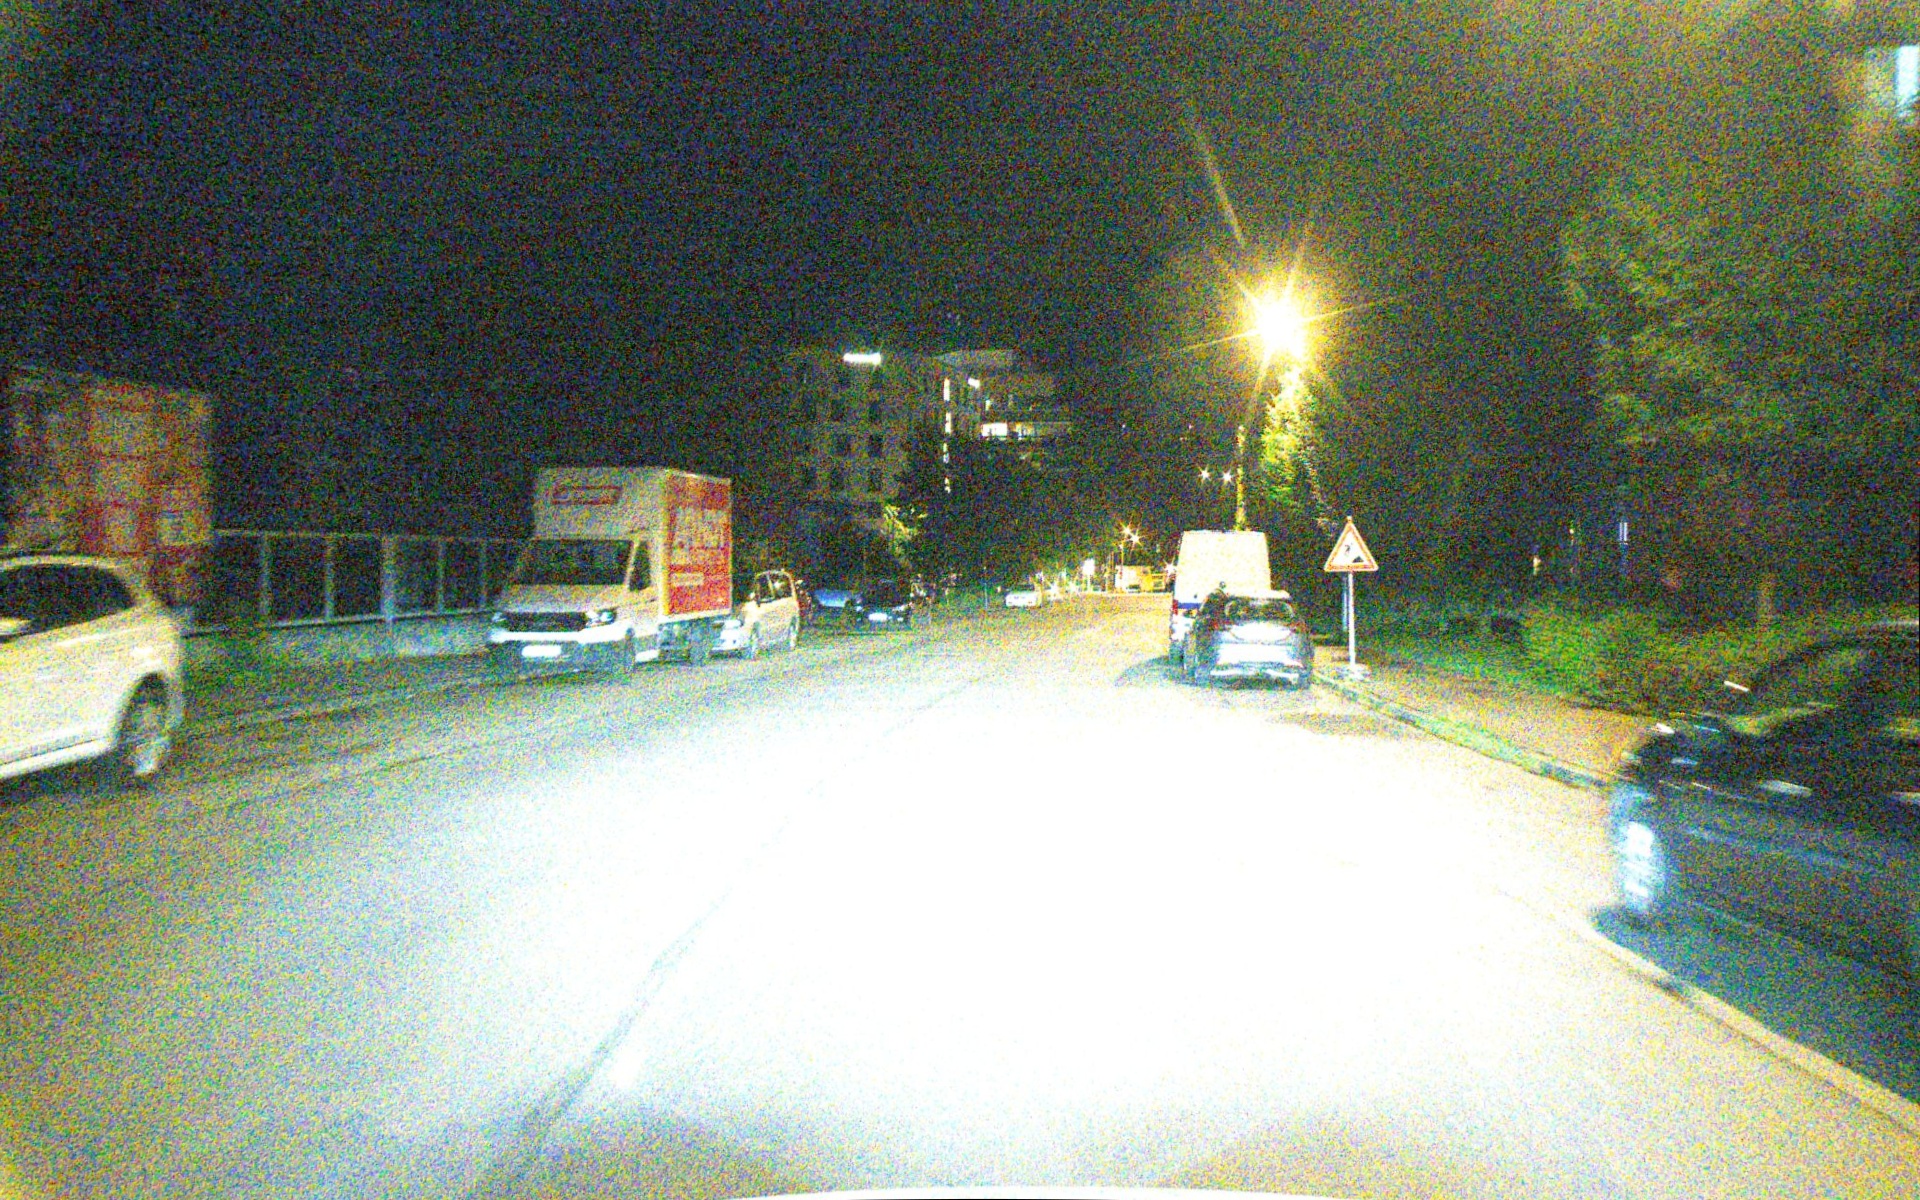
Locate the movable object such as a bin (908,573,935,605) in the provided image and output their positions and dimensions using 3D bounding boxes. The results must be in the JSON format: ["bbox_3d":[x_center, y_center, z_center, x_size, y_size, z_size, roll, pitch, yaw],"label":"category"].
[{"bbox_3d":[-1.815,-0.543,78.701,1.139,1.522,1.066,0,1,6],"label":"movable object such as a bin"}]

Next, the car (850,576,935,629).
[{"bbox_3d":[-2.045,0.064,51.426,1.717,1.553,4.326,1,0,10],"label":"car"}]

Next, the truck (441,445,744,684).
[{"bbox_3d":[-5.644,-0.546,26.844,2.489,3.337,7.318,0,1,7],"label":"truck"}]

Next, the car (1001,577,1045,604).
[{"bbox_3d":[3.492,-0.515,90.960,1.870,1.428,4.342,0,1,9],"label":"car"}]

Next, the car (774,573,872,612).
[{"bbox_3d":[-5.944,-0.347,71.998,3.902,1.598,1.819,-1,1,8],"label":"car"}]

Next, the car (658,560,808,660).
[{"bbox_3d":[-4.459,0.159,33.302,1.790,1.848,4.842,-1,1,7],"label":"car"}]

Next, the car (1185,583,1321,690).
[{"bbox_3d":[4.587,0.510,26.402,1.674,1.534,4.643,0,1,4],"label":"car"}]

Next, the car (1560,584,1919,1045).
[{"bbox_3d":[4.023,0.724,6.559,1.676,1.534,3.998,1,1,-3],"label":"car"}]

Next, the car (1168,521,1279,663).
[{"bbox_3d":[5.264,-0.193,33.479,1.977,2.570,6.057,1,1,8],"label":"car"}]

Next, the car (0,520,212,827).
[{"bbox_3d":[-6.632,0.428,10.259,1.953,1.803,4.691,0,1,-2],"label":"car"}]

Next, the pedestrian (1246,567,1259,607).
[{"bbox_3d":[13.606,-0.604,77.008,0.558,1.885,0.821,0,0,9],"label":"pedestrian"}]

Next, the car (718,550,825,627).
[{"bbox_3d":[-6.170,-0.404,54.802,1.951,2.362,4.971,-2,0,12],"label":"car"}]
